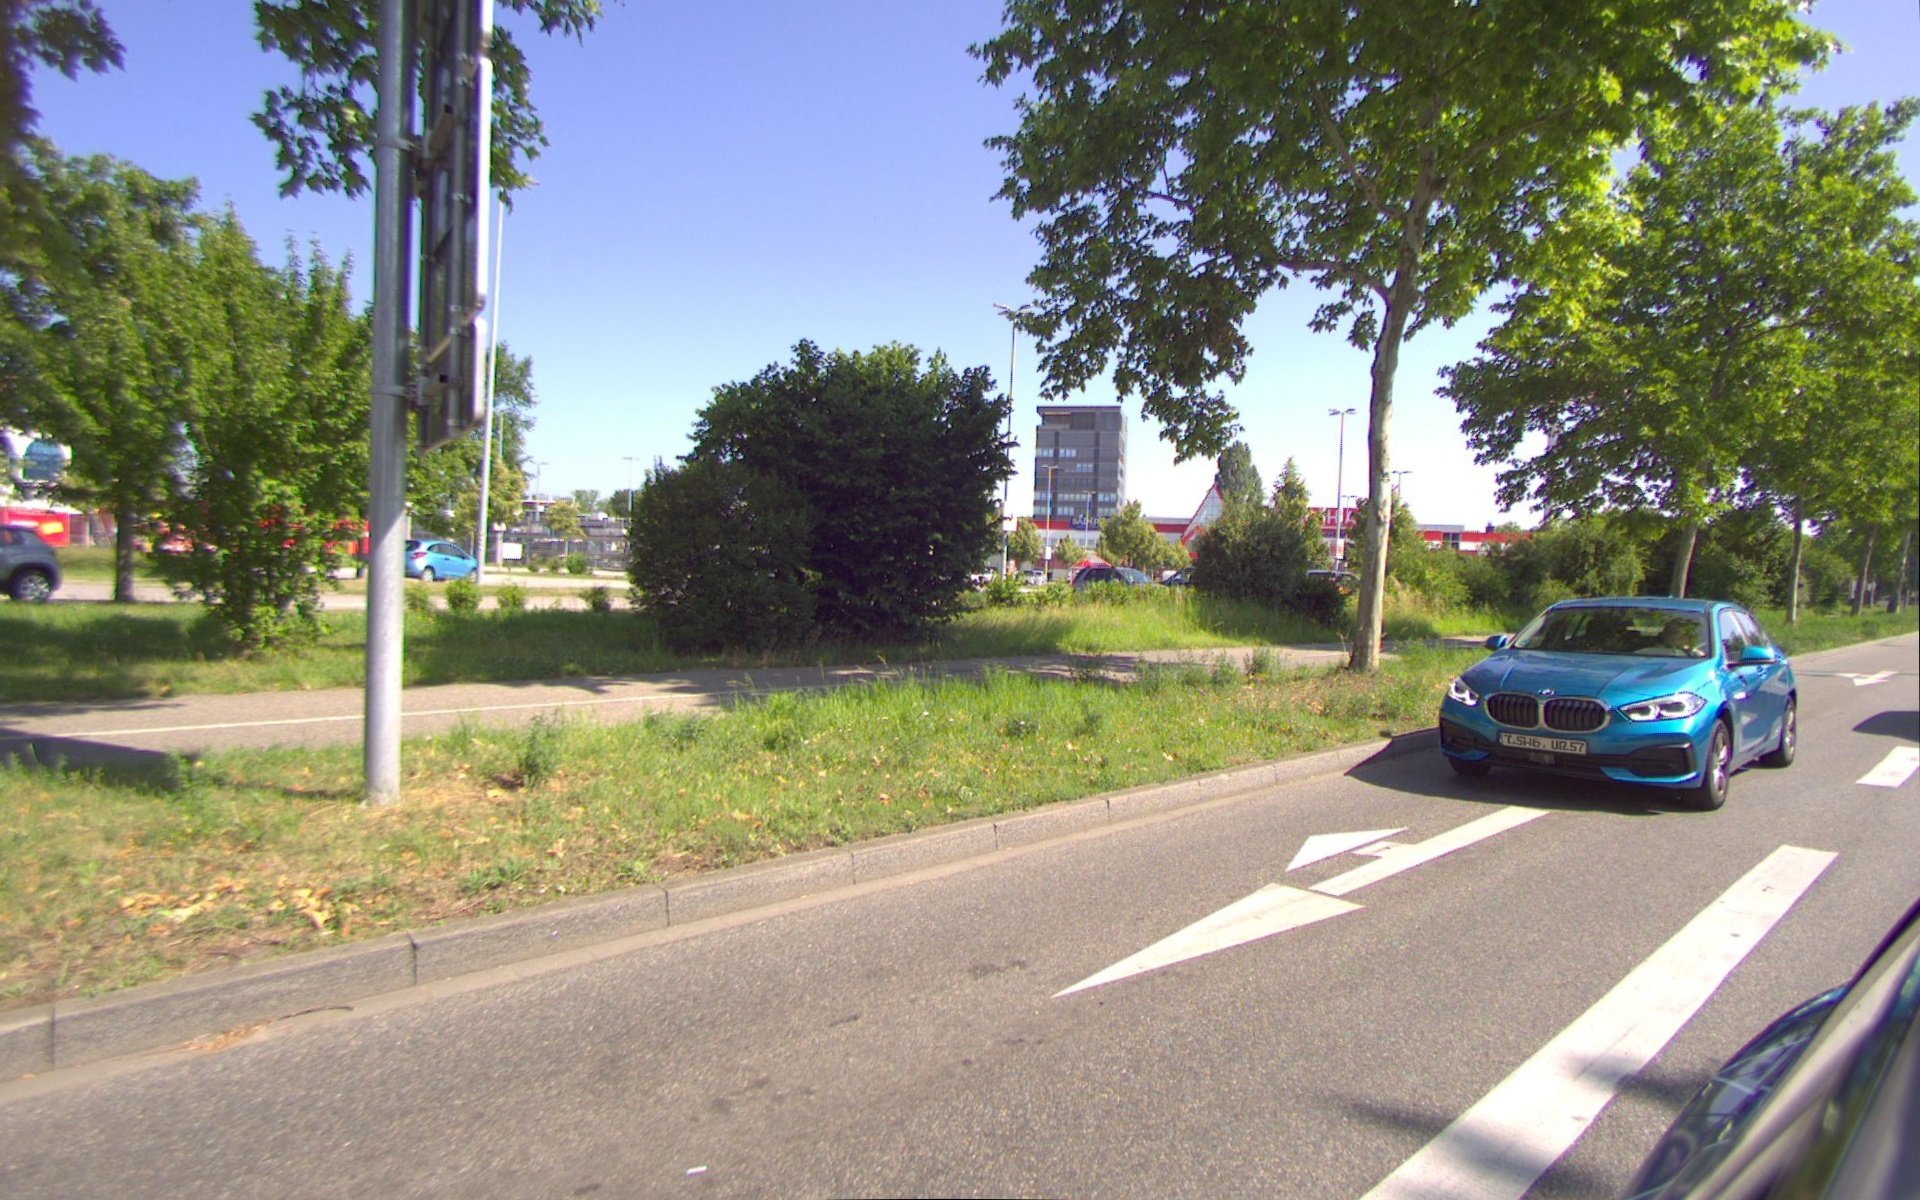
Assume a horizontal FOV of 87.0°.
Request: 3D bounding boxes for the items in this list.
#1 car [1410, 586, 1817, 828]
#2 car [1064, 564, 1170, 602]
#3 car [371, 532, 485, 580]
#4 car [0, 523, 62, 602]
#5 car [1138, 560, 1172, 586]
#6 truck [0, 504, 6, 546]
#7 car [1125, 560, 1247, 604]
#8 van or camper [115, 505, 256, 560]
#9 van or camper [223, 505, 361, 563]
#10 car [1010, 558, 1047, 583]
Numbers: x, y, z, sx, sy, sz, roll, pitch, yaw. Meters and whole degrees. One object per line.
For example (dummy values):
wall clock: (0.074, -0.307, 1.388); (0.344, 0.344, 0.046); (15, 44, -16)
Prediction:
car: (5.528, 0.638, 8.345); (4.061, 1.437, 1.870); (0, 3, -43)
car: (5.362, -0.594, 34.856); (1.584, 1.262, 3.528); (-1, 1, -38)
car: (-18.167, -1.467, 34.724); (1.522, 1.552, 3.470); (0, 1, 16)
car: (-18.464, -0.663, 17.546); (1.879, 1.438, 3.981); (0, 1, 16)
car: (15.897, -2.171, 82.342); (1.977, 2.039, 3.970); (0, 1, 23)
truck: (-56.849, -4.279, 56.050); (1.970, 2.442, 5.758); (0, 1, 14)
car: (8.094, -0.665, 36.547); (1.963, 1.500, 3.997); (-1, 1, -38)
van or camper: (-46.694, -3.971, 61.331); (1.970, 2.978, 7.260); (0, 1, 13)
van or camper: (-37.945, -3.643, 57.829); (1.970, 2.978, 7.260); (0, 1, 13)
car: (5.754, -2.476, 84.910); (1.977, 2.039, 3.970); (0, 1, 23)
